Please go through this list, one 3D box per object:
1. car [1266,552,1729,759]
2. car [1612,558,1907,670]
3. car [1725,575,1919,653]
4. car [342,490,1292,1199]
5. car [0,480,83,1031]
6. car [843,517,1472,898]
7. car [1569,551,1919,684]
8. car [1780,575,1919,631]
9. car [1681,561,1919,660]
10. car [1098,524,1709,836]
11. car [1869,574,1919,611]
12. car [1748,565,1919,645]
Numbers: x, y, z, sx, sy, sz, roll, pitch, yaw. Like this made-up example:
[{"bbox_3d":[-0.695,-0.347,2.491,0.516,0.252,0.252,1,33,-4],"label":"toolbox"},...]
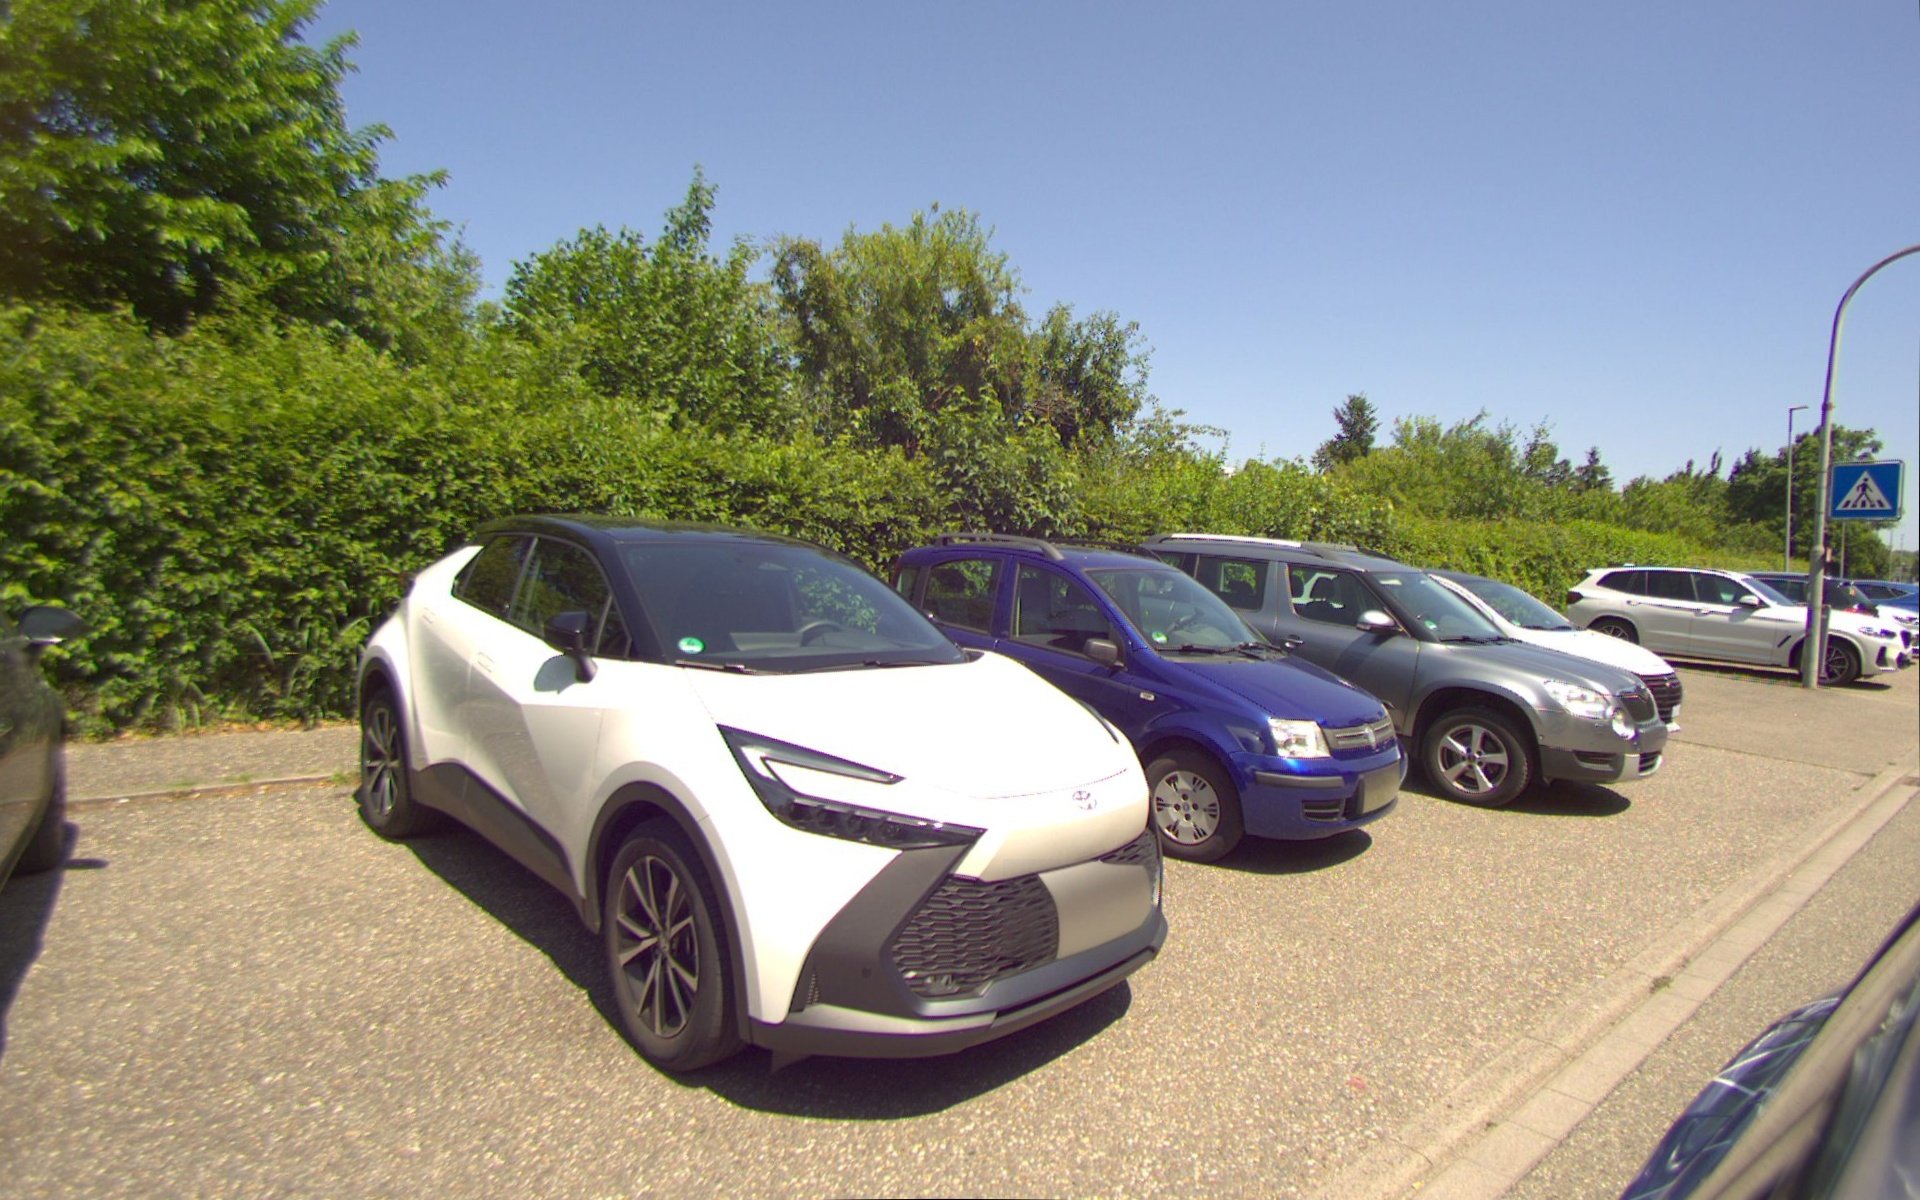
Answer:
[{"bbox_3d":[5.159,0.392,10.168,1.580,1.467,3.704,1,5,-37],"label":"car"},{"bbox_3d":[14.634,0.163,18.703,1.736,1.706,3.981,0,4,-41],"label":"car"},{"bbox_3d":[19.986,0.289,22.836,1.651,1.426,4.034,-1,5,-42],"label":"car"},{"bbox_3d":[-0.953,0.426,4.218,3.966,1.541,1.835,8,6,44],"label":"car"},{"bbox_3d":[-3.612,0.385,2.791,1.558,1.522,3.399,1,3,-37],"label":"car"},{"bbox_3d":[0.987,0.372,6.201,3.456,1.545,1.515,8,6,44],"label":"car"},{"bbox_3d":[12.896,0.153,16.721,1.818,1.750,4.465,-1,5,-40],"label":"car"},{"bbox_3d":[28.238,0.079,31.260,1.621,1.435,4.251,-1,5,-41],"label":"car"},{"bbox_3d":[17.760,0.148,21.050,1.746,1.661,4.166,-1,5,-43],"label":"car"},{"bbox_3d":[3.205,0.365,7.923,1.637,1.659,3.966,0,6,-44],"label":"car"},{"bbox_3d":[51.935,-0.314,54.363,4.484,1.873,1.668,7,5,44],"label":"car"},{"bbox_3d":[22.068,0.108,24.801,1.645,1.661,4.035,-1,5,-41],"label":"car"}]
